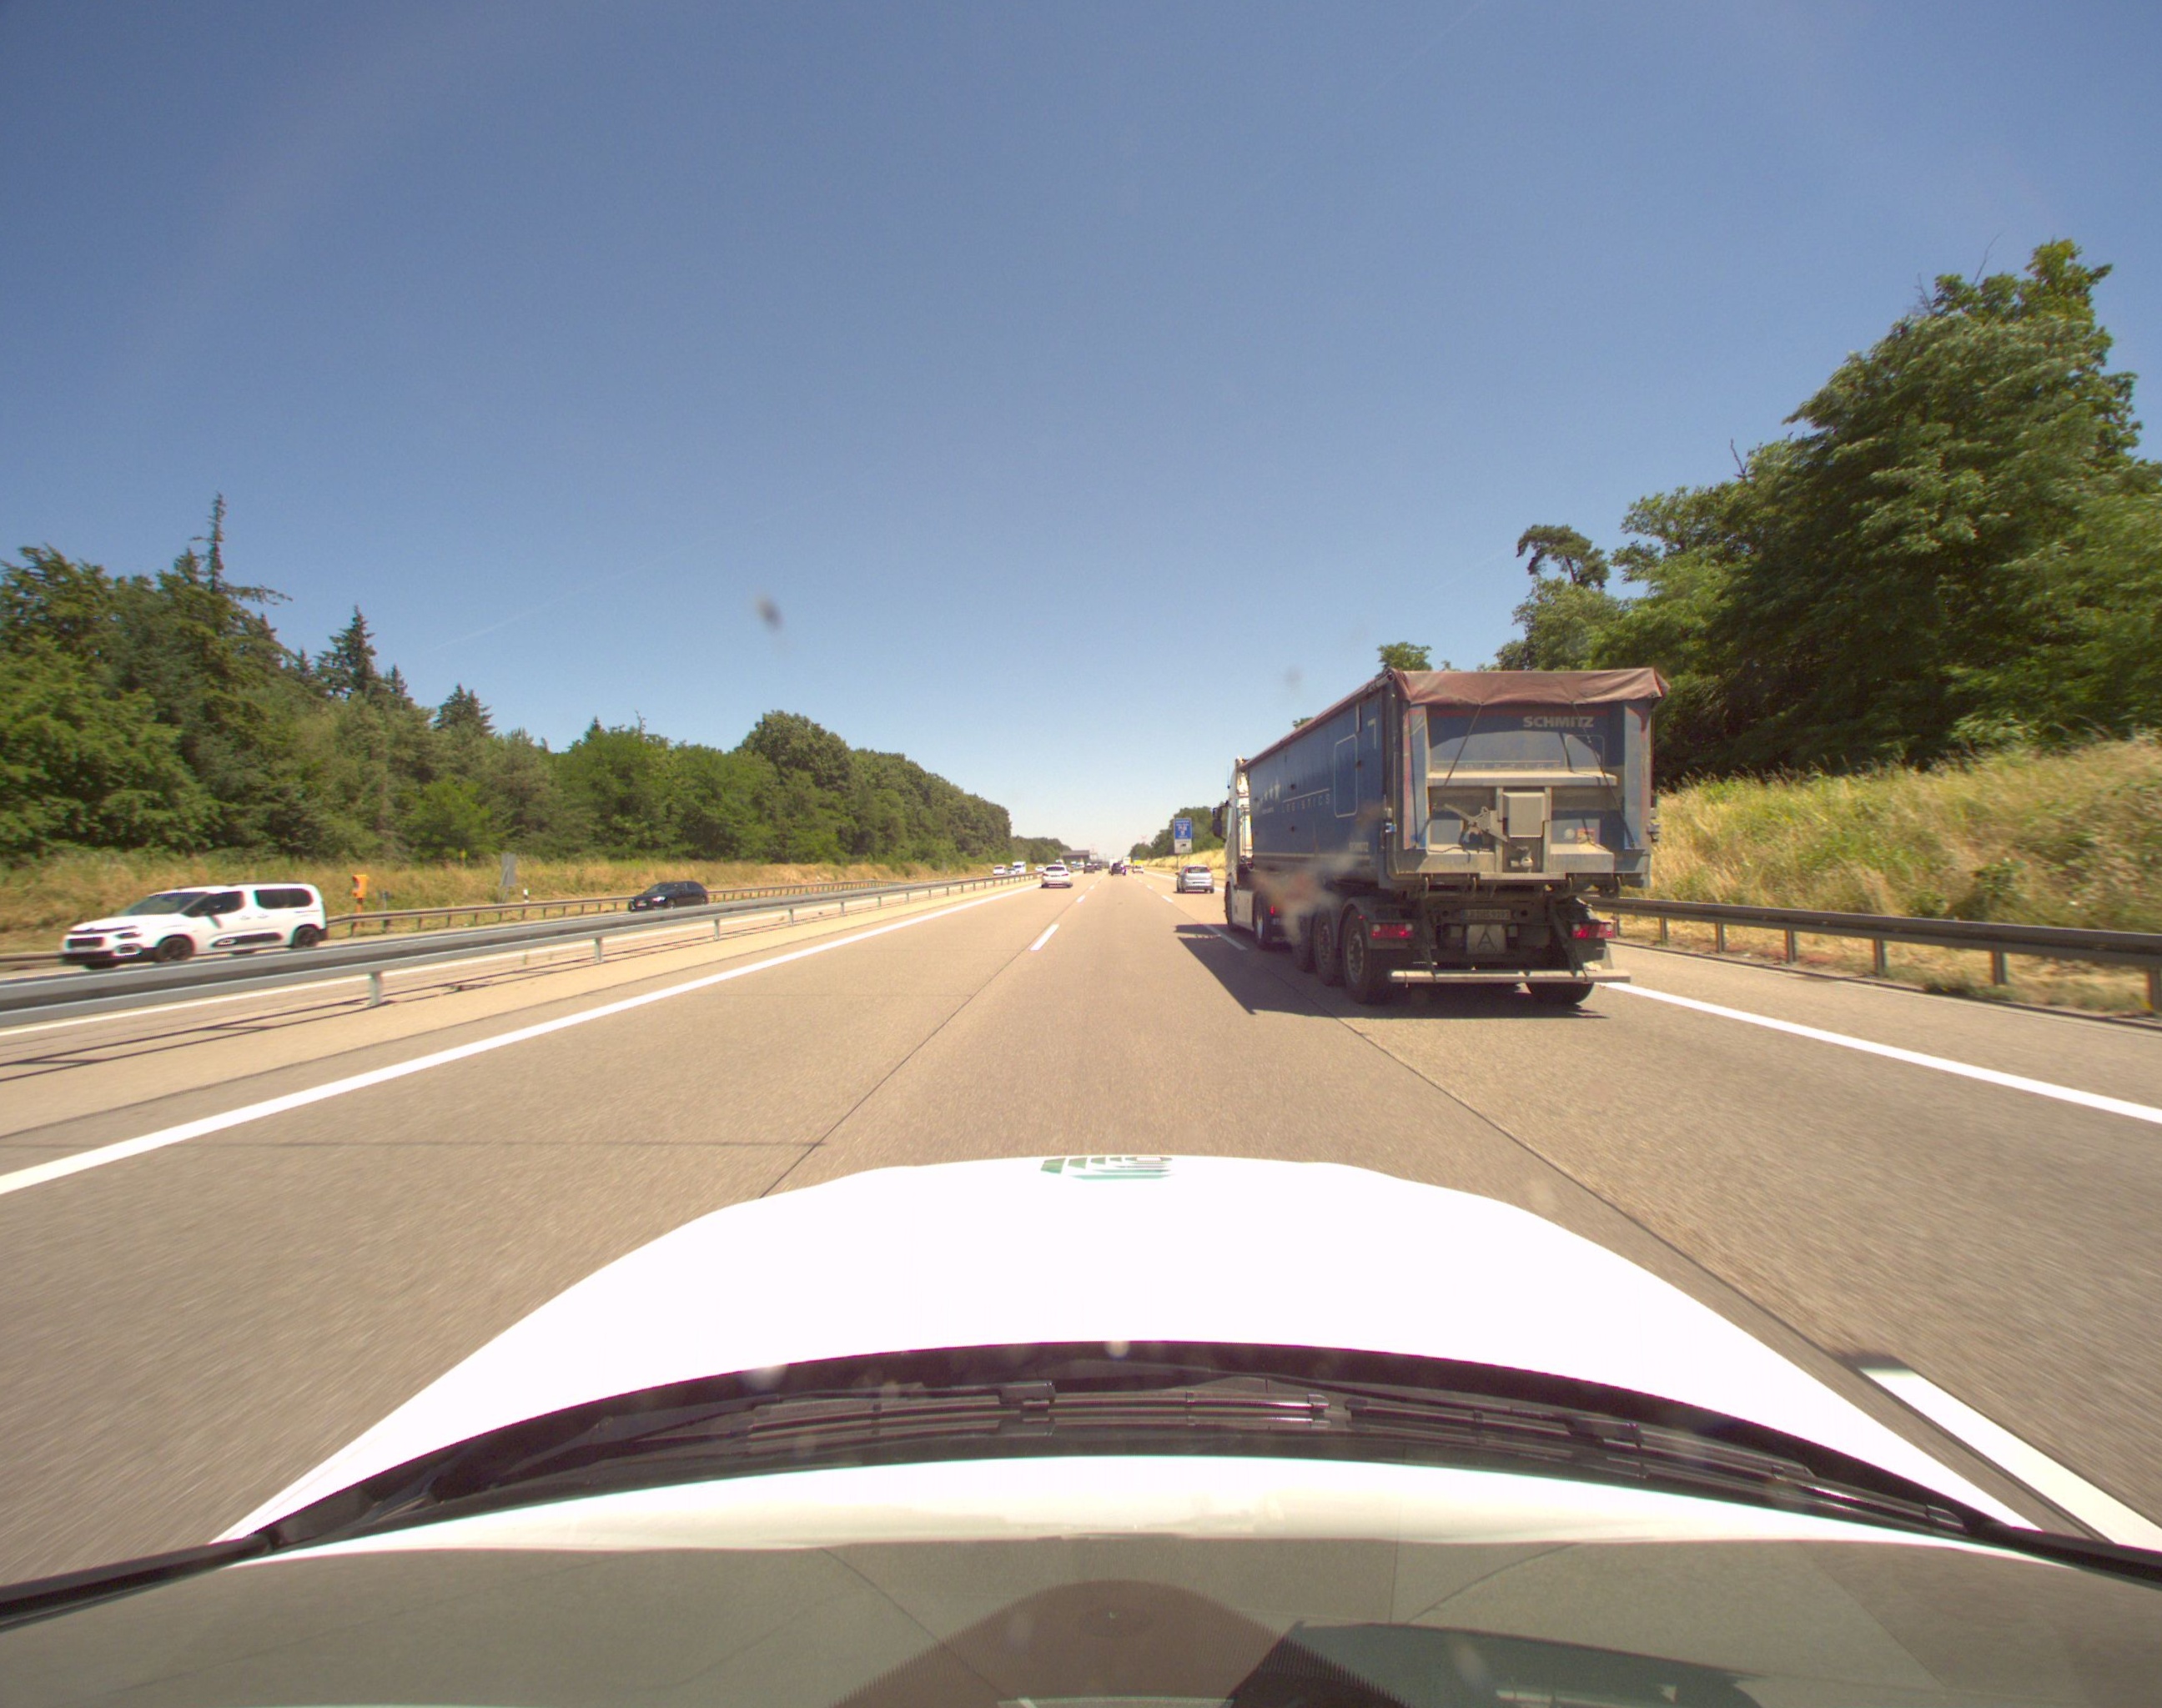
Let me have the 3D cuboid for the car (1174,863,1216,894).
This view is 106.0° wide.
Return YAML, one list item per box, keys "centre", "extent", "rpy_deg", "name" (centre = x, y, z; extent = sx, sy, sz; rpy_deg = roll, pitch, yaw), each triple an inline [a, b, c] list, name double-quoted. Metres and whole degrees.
- centre: [5.854, 1.260, 42.283]
  extent: [1.713, 1.491, 3.738]
  rpy_deg: [0, 0, 1]
  name: "car"

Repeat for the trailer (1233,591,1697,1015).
- centre: [4.280, -0.437, 11.855]
  extent: [2.726, 3.758, 9.114]
  rpy_deg: [-1, 0, 2]
  name: "trailer"

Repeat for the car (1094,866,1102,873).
- centre: [3.915, 3.534, 186.834]
  extent: [1.868, 1.580, 3.930]
  rpy_deg: [-1, 0, 3]
  name: "car"

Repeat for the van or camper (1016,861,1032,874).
- centre: [-12.431, 2.993, 178.350]
  extent: [2.452, 2.575, 7.774]
  rpy_deg: [-3, -1, 2]
  name: "van or camper"

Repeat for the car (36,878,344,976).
- centre: [-20.586, 1.582, 19.203]
  extent: [1.986, 1.828, 4.644]
  rpy_deg: [-3, -1, 2]
  name: "car"

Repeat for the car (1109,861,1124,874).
- centre: [4.655, 1.843, 107.736]
  extent: [1.825, 1.672, 4.000]
  rpy_deg: [0, -1, 0]
  name: "car"

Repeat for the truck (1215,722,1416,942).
- centre: [4.528, -0.369, 17.007]
  extent: [2.673, 3.758, 5.948]
  rpy_deg: [-1, 0, 3]
  name: "truck"

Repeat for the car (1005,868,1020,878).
- centre: [-11.447, 3.236, 136.590]
  extent: [1.843, 1.527, 5.209]
  rpy_deg: [-2, -1, 3]
  name: "car"

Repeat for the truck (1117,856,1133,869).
- centre: [14.335, 2.802, 264.781]
  extent: [3.985, 4.315, 9.864]
  rpy_deg: [1, -1, -5]
  name: "truck"

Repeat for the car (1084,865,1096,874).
- centre: [1.476, 2.580, 133.769]
  extent: [1.825, 1.431, 5.002]
  rpy_deg: [0, 0, 2]
  name: "car"

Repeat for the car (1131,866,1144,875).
- centre: [9.192, 2.654, 133.192]
  extent: [1.816, 1.492, 3.735]
  rpy_deg: [0, -1, -1]
  name: "car"

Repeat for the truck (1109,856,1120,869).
- centre: [7.820, 2.015, 189.911]
  extent: [2.420, 2.884, 6.204]
  rpy_deg: [0, -1, 1]
  name: "truck"

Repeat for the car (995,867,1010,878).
- centre: [-14.200, 3.352, 147.542]
  extent: [1.986, 1.953, 5.247]
  rpy_deg: [-3, -1, 2]
  name: "car"

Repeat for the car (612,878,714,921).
- centre: [-19.334, 2.060, 37.990]
  extent: [1.986, 1.703, 4.981]
  rpy_deg: [-3, -1, 2]
  name: "car"

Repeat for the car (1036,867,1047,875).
- centre: [-9.110, 4.016, 188.494]
  extent: [1.986, 1.694, 5.247]
  rpy_deg: [-3, -1, 2]
  name: "car"

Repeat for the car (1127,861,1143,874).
- centre: [10.677, 2.728, 161.346]
  extent: [2.657, 2.634, 6.112]
  rpy_deg: [0, -1, 1]
  name: "car"

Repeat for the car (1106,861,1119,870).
- centre: [4.960, 1.802, 127.570]
  extent: [1.885, 1.469, 4.266]
  rpy_deg: [0, 0, 4]
  name: "car"

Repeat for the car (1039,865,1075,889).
- centre: [-1.495, 1.465, 53.068]
  extent: [1.956, 1.504, 5.407]
  rpy_deg: [0, -1, 2]
  name: "car"
